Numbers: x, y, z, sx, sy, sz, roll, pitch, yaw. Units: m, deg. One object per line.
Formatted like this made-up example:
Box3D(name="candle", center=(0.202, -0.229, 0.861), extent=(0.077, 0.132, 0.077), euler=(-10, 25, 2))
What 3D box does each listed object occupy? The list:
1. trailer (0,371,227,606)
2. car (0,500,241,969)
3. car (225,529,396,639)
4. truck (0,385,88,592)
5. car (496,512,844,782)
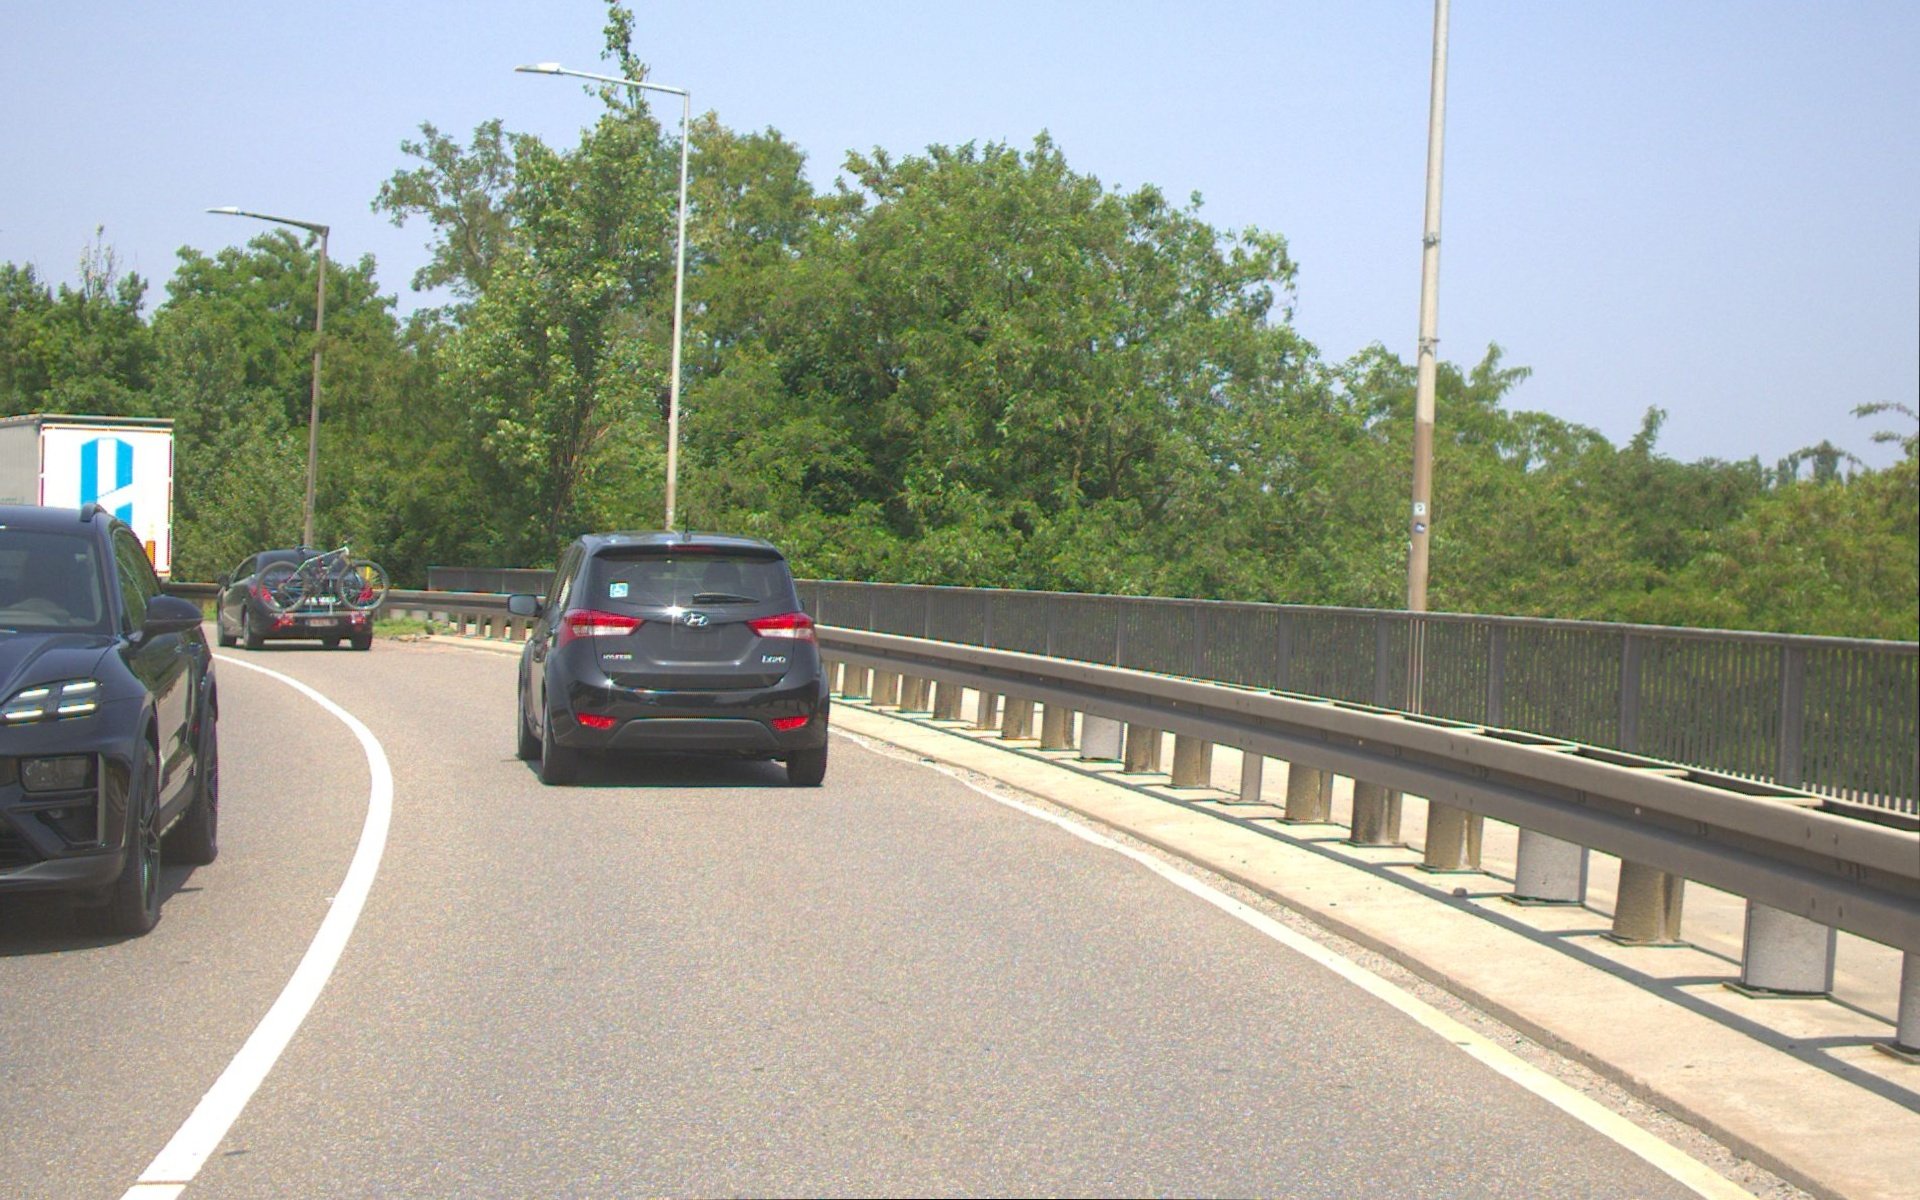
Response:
Box3D(name="trailer", center=(-18.346, -2.278, 69.992), extent=(3.569, 4.369, 11.443), euler=(0, 2, -28))
Box3D(name="car", center=(-4.122, 0.398, 14.014), extent=(1.892, 1.590, 4.488), euler=(1, 2, -6))
Box3D(name="car", center=(-9.200, -0.245, 48.498), extent=(2.011, 1.424, 3.778), euler=(0, 2, -16))
Box3D(name="truck", center=(-22.123, -2.507, 76.750), extent=(3.572, 4.425, 6.516), euler=(0, 2, -29))
Box3D(name="car", center=(-1.983, 0.240, 22.451), extent=(1.921, 1.568, 3.893), euler=(1, 2, -10))
